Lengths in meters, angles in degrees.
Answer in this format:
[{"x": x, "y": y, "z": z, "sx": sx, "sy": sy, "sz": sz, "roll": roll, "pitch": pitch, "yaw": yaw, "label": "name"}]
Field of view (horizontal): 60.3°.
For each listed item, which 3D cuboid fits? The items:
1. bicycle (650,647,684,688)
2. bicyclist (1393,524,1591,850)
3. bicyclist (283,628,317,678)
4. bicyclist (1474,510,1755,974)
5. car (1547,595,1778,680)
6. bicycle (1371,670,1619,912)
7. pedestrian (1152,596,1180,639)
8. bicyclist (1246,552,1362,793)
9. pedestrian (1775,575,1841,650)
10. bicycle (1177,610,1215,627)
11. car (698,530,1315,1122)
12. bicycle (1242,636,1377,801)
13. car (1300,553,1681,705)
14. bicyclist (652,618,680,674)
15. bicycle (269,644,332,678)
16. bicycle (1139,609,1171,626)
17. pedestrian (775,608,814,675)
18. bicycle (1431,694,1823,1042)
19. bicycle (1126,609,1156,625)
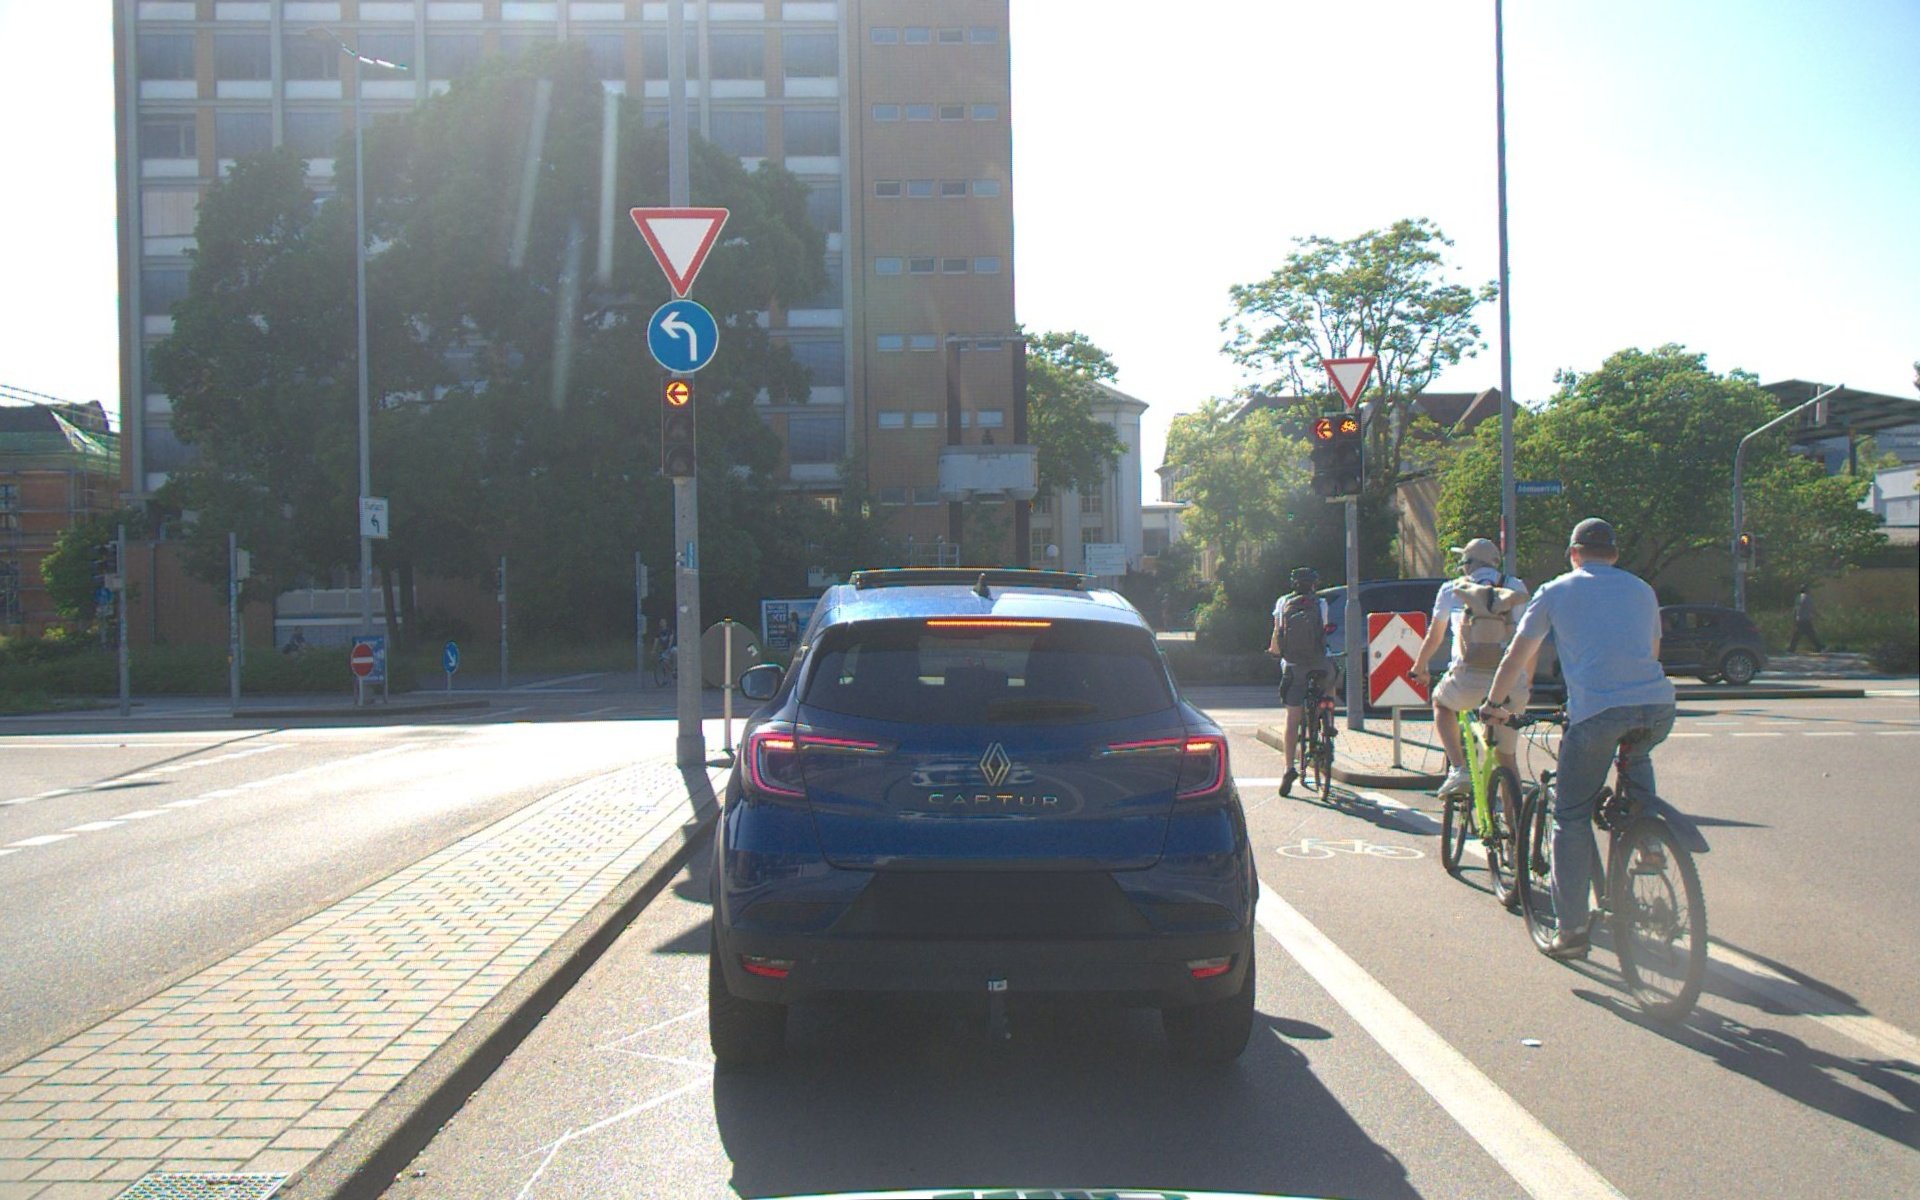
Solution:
[{"x": -7.737, "y": 1.797, "z": 43.589, "sx": 0.687, "sy": 1.025, "sz": 1.860, "roll": -1, "pitch": -3, "yaw": -16, "label": "bicycle"}, {"x": 2.793, "y": 0.435, "z": 8.778, "sx": 0.660, "sy": 1.610, "sz": 1.081, "roll": 1, "pitch": 0, "yaw": -2, "label": "bicyclist"}, {"x": -19.579, "y": 1.573, "z": 49.069, "sx": 0.624, "sy": 1.437, "sz": 0.649, "roll": -1, "pitch": 0, "yaw": 24, "label": "bicyclist"}, {"x": 2.563, "y": 0.524, "z": 6.568, "sx": 0.725, "sy": 1.703, "sz": 0.865, "roll": -1, "pitch": 0, "yaw": -3, "label": "bicyclist"}, {"x": 14.051, "y": 0.745, "z": 33.255, "sx": 3.902, "sy": 1.598, "sz": 1.837, "roll": -1, "pitch": 0, "yaw": 8, "label": "car"}, {"x": 2.784, "y": 0.950, "z": 8.813, "sx": 0.657, "sy": 1.069, "sz": 1.843, "roll": 1, "pitch": 0, "yaw": -2, "label": "bicycle"}, {"x": 9.869, "y": 0.833, "z": 79.252, "sx": 1.132, "sy": 2.049, "sz": 1.164, "roll": -1, "pitch": 0, "yaw": -1, "label": "pedestrian"}, {"x": 2.684, "y": 0.551, "z": 12.972, "sx": 0.663, "sy": 1.816, "sz": 0.939, "roll": 1, "pitch": -1, "yaw": -2, "label": "bicyclist"}, {"x": 21.872, "y": 0.313, "z": 42.672, "sx": 1.269, "sy": 1.888, "sz": 0.967, "roll": -1, "pitch": 0, "yaw": 11, "label": "pedestrian"}, {"x": 11.862, "y": 0.933, "z": 83.201, "sx": 1.739, "sy": 0.837, "sz": 0.763, "roll": -1, "pitch": 0, "yaw": -11, "label": "bicycle"}, {"x": 0.084, "y": 0.642, "z": 6.667, "sx": 1.758, "sy": 1.684, "sz": 3.852, "roll": 1, "pitch": 0, "yaw": -2, "label": "car"}, {"x": 2.696, "y": 0.882, "z": 12.935, "sx": 0.602, "sy": 1.158, "sz": 1.825, "roll": 0, "pitch": 0, "yaw": -2, "label": "bicycle"}, {"x": 7.062, "y": 0.388, "z": 22.488, "sx": 4.626, "sy": 1.893, "sz": 2.006, "roll": -1, "pitch": 0, "yaw": 8, "label": "car"}, {"x": -7.747, "y": 1.209, "z": 43.627, "sx": 0.637, "sy": 1.437, "sz": 0.635, "roll": -1, "pitch": -3, "yaw": -17, "label": "bicyclist"}, {"x": -19.576, "y": 1.813, "z": 49.054, "sx": 1.827, "sy": 0.975, "sz": 0.623, "roll": -1, "pitch": 0, "yaw": 24, "label": "bicycle"}, {"x": 11.206, "y": 0.985, "z": 94.992, "sx": 1.735, "sy": 0.914, "sz": 0.765, "roll": -1, "pitch": 0, "yaw": -1, "label": "bicycle"}, {"x": -4.749, "y": 1.192, "z": 47.607, "sx": 0.912, "sy": 1.888, "sz": 0.808, "roll": -1, "pitch": 0, "yaw": 8, "label": "pedestrian"}, {"x": 2.568, "y": 0.973, "z": 6.646, "sx": 0.732, "sy": 1.069, "sz": 1.902, "roll": -1, "pitch": 0, "yaw": -2, "label": "bicycle"}, {"x": 10.860, "y": 1.016, "z": 99.351, "sx": 1.735, "sy": 0.908, "sz": 0.765, "roll": -1, "pitch": 0, "yaw": -1, "label": "bicycle"}]
